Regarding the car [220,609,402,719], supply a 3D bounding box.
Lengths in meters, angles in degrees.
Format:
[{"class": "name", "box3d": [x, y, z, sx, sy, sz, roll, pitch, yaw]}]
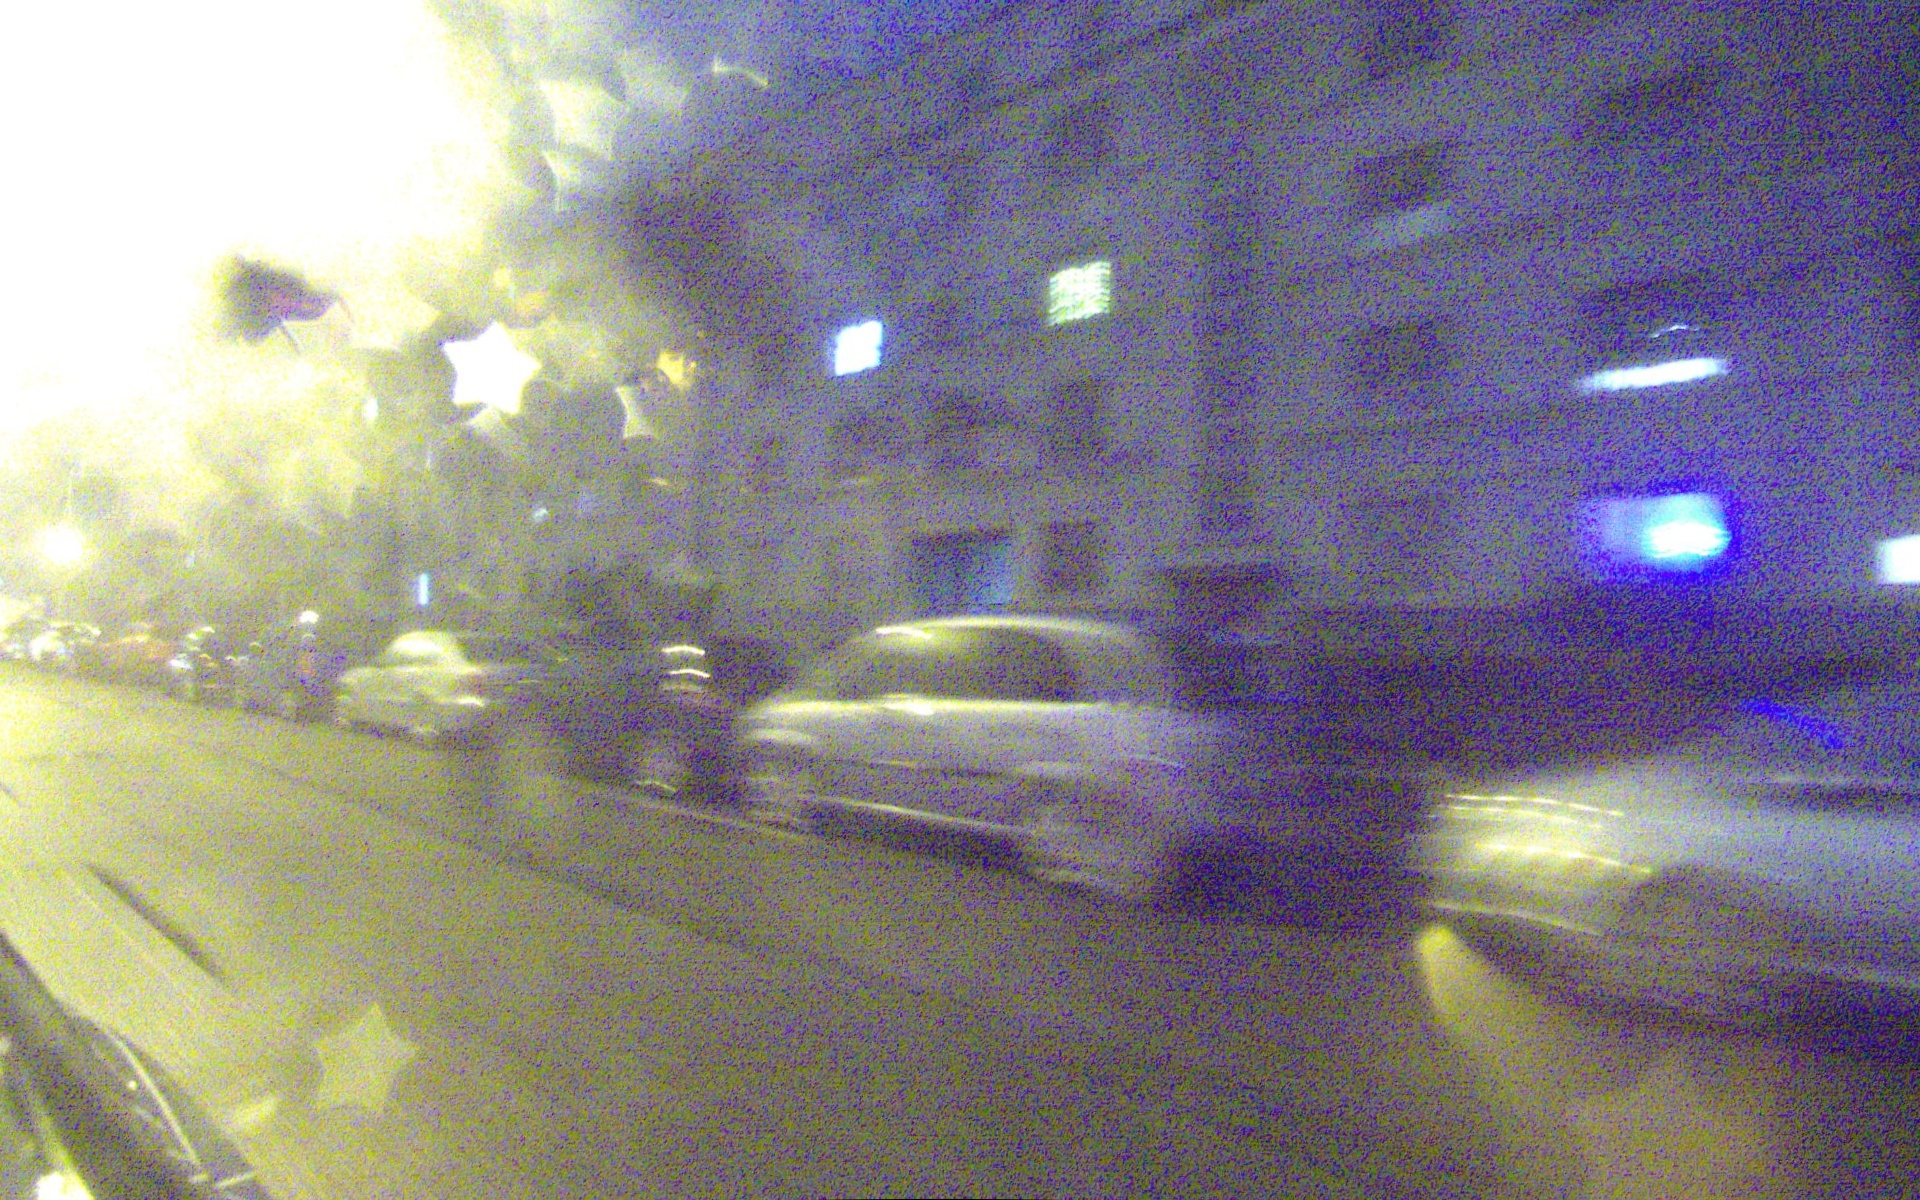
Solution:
[{"class": "car", "box3d": [-10.739, 1.039, 16.678, 3.371, 1.632, 1.459, -1, -6, 40]}]

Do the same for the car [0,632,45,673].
[{"class": "car", "box3d": [-37.252, 2.032, 39.612, 4.390, 1.551, 1.648, -2, -4, 42]}]

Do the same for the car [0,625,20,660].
[{"class": "car", "box3d": [-45.337, 1.939, 47.249, 4.058, 1.551, 1.688, -2, -5, 42]}]

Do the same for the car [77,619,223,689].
[{"class": "car", "box3d": [-20.601, 1.339, 25.696, 4.383, 1.610, 1.730, -1, -6, 37]}]

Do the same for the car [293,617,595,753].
[{"class": "car", "box3d": [-6.875, 1.031, 13.226, 4.929, 1.468, 1.620, -1, -6, 40]}]

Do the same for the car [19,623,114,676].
[{"class": "car", "box3d": [-28.681, 1.563, 32.434, 4.389, 1.551, 1.648, -1, -6, 42]}]

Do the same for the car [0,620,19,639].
[{"class": "car", "box3d": [-90.596, 2.695, 93.904, 4.472, 1.719, 1.855, 4, -4, -35]}]

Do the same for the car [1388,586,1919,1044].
[{"class": "car", "box3d": [4.007, 0.761, 3.648, 4.273, 1.498, 1.581, -1, -6, 42]}]

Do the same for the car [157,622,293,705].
[{"class": "car", "box3d": [-14.412, 1.217, 19.795, 3.373, 1.471, 1.416, -2, -6, 43]}]

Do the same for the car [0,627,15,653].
[{"class": "car", "box3d": [-48.855, 1.970, 50.744, 4.638, 1.278, 1.818, -2, -4, 43]}]

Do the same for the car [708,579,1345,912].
[{"class": "car", "box3d": [0.219, 0.809, 6.958, 4.256, 1.617, 1.581, -1, -6, 42]}]

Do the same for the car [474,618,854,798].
[{"class": "car", "box3d": [-3.052, 0.968, 10.049, 4.001, 1.442, 1.582, -1, -6, 40]}]

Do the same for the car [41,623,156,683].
[{"class": "car", "box3d": [-24.723, 1.492, 28.997, 4.387, 1.551, 1.649, -1, -6, 40]}]

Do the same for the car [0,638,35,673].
[{"class": "car", "box3d": [-40.913, 2.315, 42.978, 4.669, 1.429, 1.604, -1, -4, 38]}]
